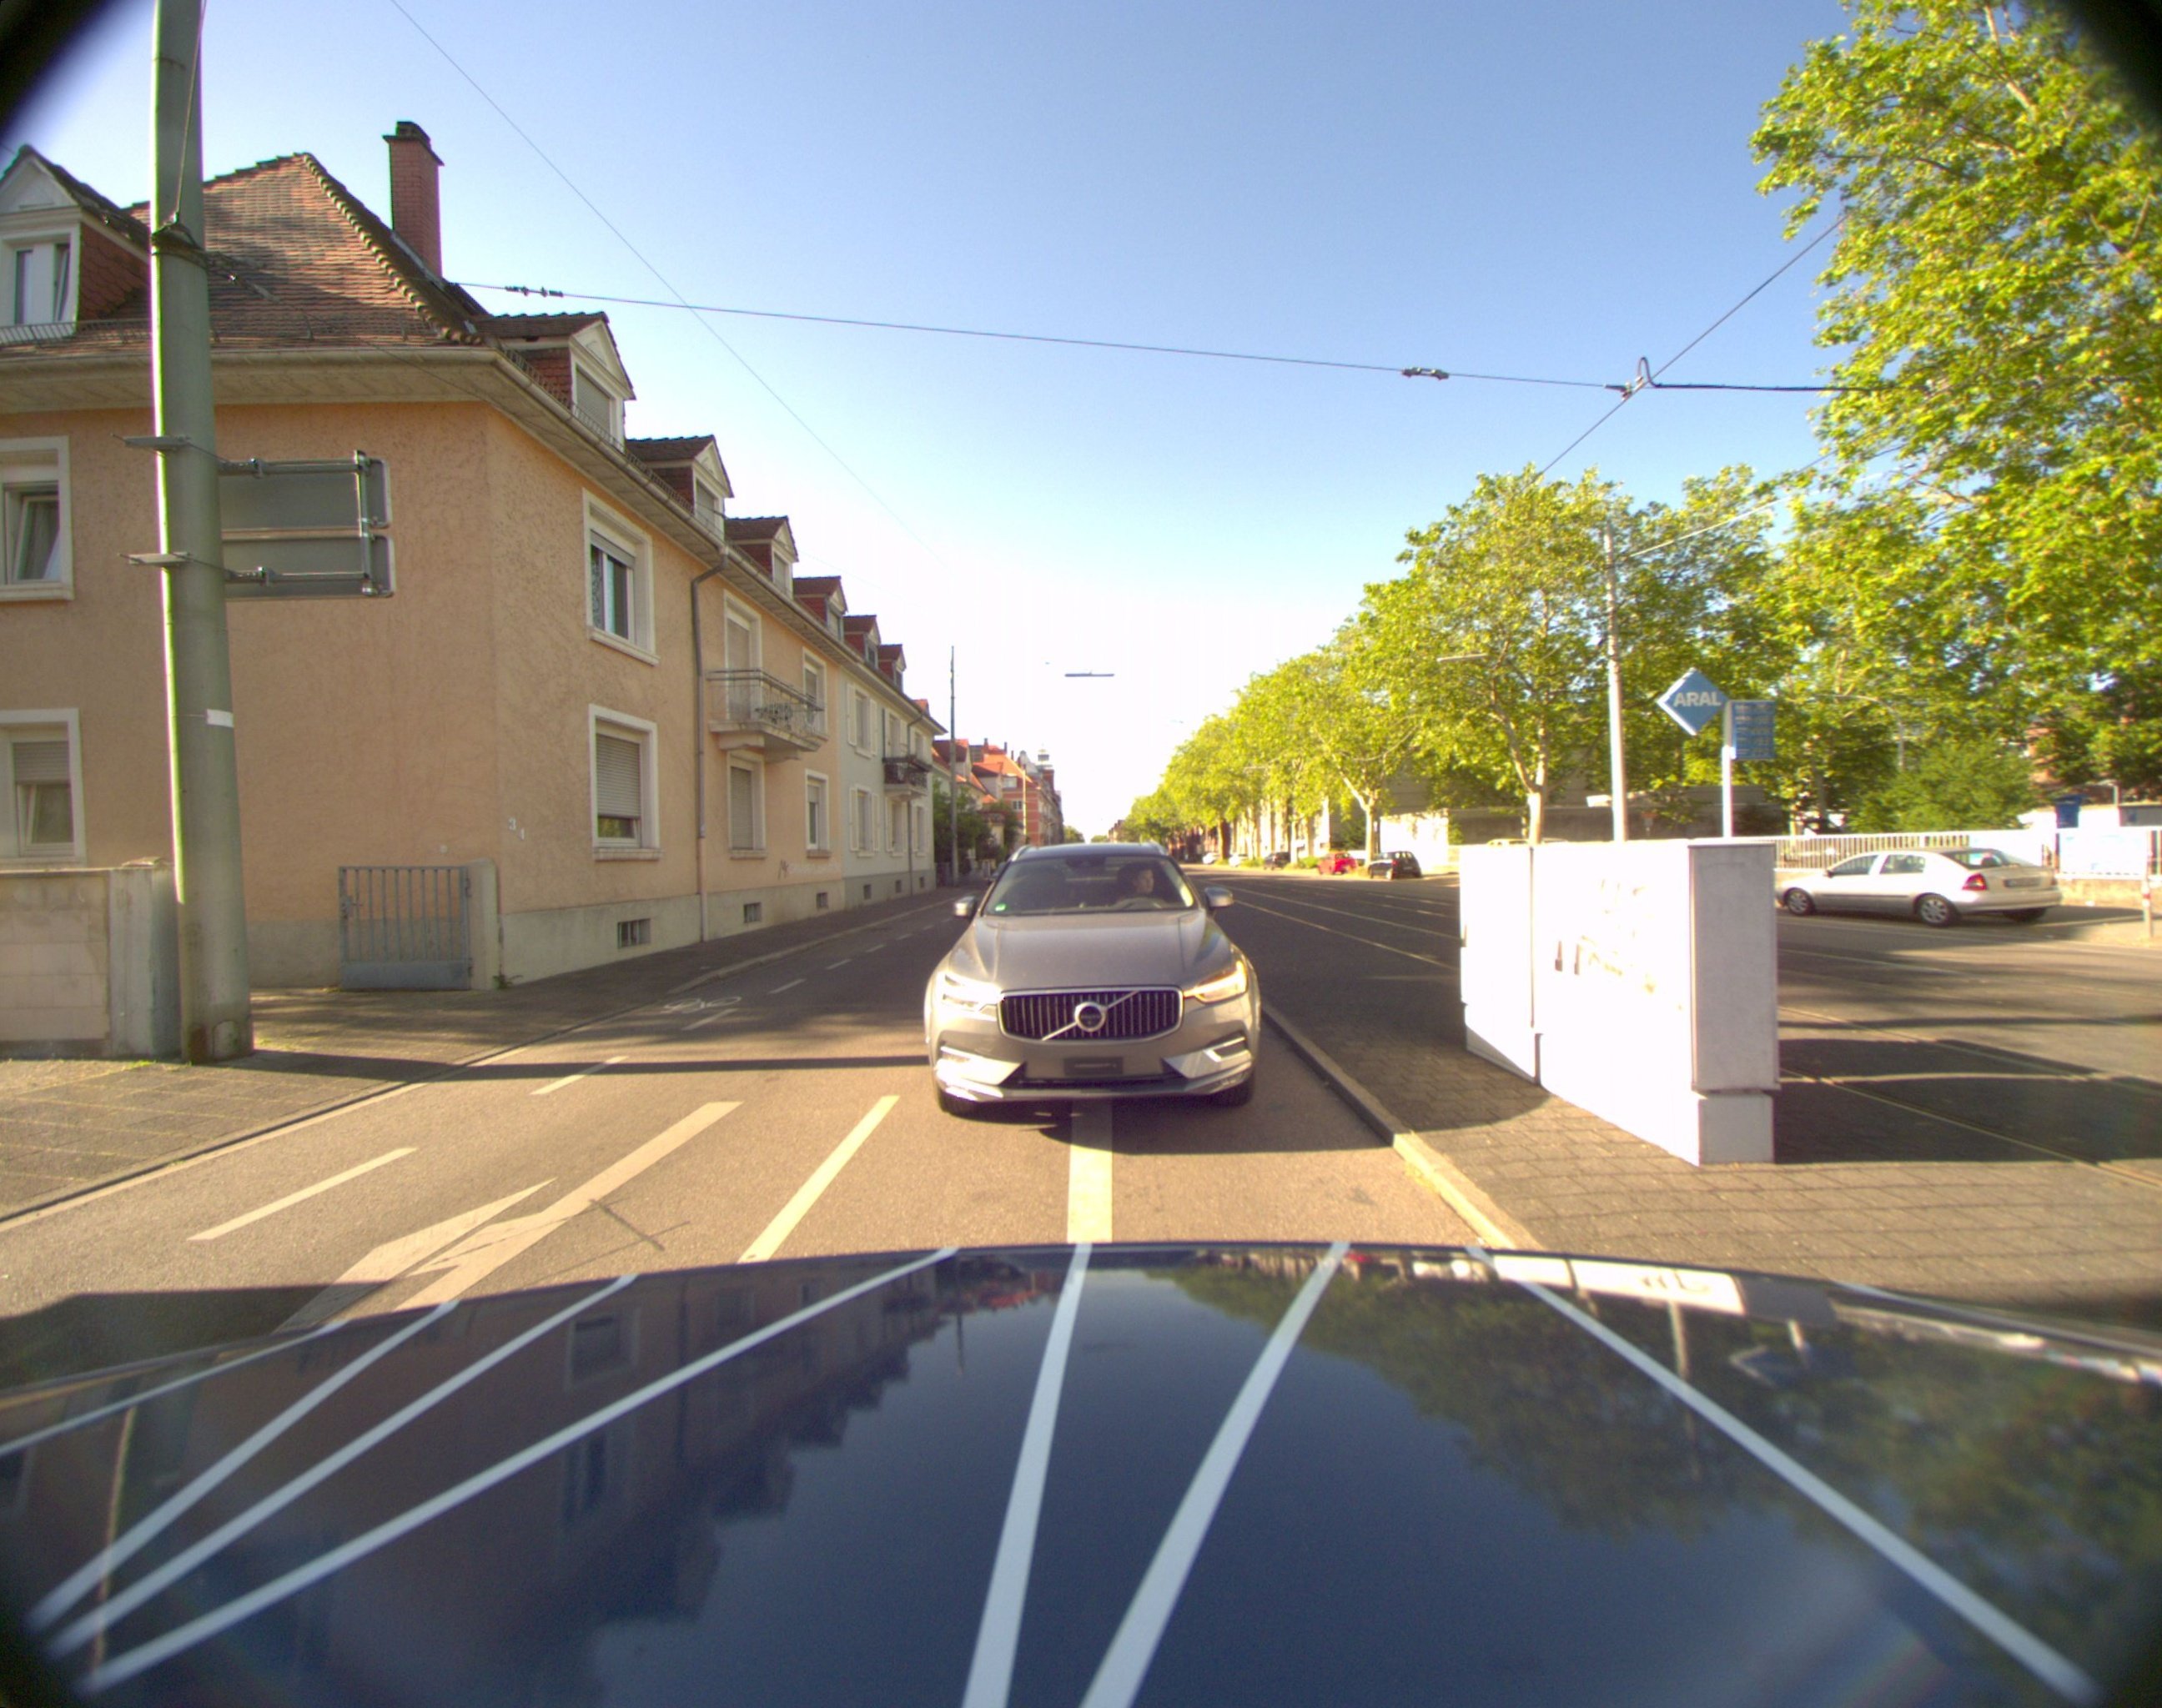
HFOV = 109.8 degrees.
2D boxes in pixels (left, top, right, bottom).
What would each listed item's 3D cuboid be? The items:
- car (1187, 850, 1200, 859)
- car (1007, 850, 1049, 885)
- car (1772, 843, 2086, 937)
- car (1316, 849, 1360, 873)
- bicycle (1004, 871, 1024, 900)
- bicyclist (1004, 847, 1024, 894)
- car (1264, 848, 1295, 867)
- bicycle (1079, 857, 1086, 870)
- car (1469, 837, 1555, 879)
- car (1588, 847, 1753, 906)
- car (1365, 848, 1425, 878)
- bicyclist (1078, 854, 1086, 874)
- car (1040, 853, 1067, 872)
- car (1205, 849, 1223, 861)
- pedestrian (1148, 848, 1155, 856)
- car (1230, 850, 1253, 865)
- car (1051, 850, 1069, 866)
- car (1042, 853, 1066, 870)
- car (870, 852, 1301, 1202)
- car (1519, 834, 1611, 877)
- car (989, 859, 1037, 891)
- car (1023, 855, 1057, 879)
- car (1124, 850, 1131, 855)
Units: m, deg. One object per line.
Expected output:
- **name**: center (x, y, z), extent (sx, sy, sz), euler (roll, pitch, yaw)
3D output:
- **car**: center (18.492, 0.062, 125.292), extent (1.758, 1.475, 3.858), euler (-3, 0, 3)
- **car**: center (-2.921, 0.700, 42.827), extent (1.867, 1.778, 5.297), euler (-1, 0, 1)
- **car**: center (16.234, 0.609, 14.906), extent (1.847, 1.477, 3.858), euler (-4, 0, 2)
- **car**: center (16.896, 0.453, 50.183), extent (1.717, 1.421, 3.858), euler (-3, 0, 3)
- **bicycle**: center (-2.524, 1.169, 28.775), extent (0.533, 1.011, 1.758), euler (-1, 0, 1)
- **bicyclist**: center (-2.538, 0.607, 28.845), extent (0.561, 1.721, 1.084), euler (-2, 1, 1)
- **car**: center (17.163, 0.296, 65.914), extent (1.758, 1.536, 3.858), euler (-3, 0, 3)
- **bicycle**: center (0.133, 0.771, 62.570), extent (0.550, 1.056, 1.794), euler (-1, 1, -1)
- **car**: center (21.805, 0.171, 38.640), extent (1.999, 2.002, 3.999), euler (-1, 0, -1)
- **car**: center (16.474, 0.570, 21.514), extent (1.745, 1.389, 3.858), euler (-4, 0, 3)
- **car**: center (16.885, 0.460, 41.041), extent (1.758, 1.449, 3.858), euler (-3, 0, 3)
- **bicyclist**: center (0.066, 0.783, 62.722), extent (0.562, 1.607, 1.016), euler (-2, 1, 0)
- **car**: center (-2.141, 0.666, 60.054), extent (1.867, 1.399, 4.078), euler (-1, 0, 1)
- **car**: center (17.658, 0.167, 100.936), extent (1.758, 1.475, 3.858), euler (-3, 0, 3)
- **pedestrian**: center (19.606, -0.538, 212.173), extent (1.686, 2.002, 1.761), euler (-1, 1, 1)
- **car**: center (17.567, 0.358, 83.342), extent (1.758, 1.475, 3.858), euler (-3, 0, 3)
- **car**: center (-2.336, 0.431, 85.447), extent (1.867, 1.653, 4.078), euler (-1, 0, 1)
- **car**: center (-2.363, 0.620, 66.358), extent (1.867, 1.399, 4.078), euler (-1, 0, 1)
- **car**: center (0.053, 0.813, 5.928), extent (1.998, 1.609, 4.697), euler (-1, 0, 1)
- **car**: center (24.153, 0.082, 38.100), extent (1.999, 2.002, 3.999), euler (-1, 0, -1)
- **car**: center (-3.243, 0.962, 37.073), extent (1.867, 1.399, 4.424), euler (-1, 0, 1)
- **car**: center (-2.586, 0.812, 48.495), extent (1.867, 1.399, 4.078), euler (-1, 0, 1)
- **car**: center (14.278, -0.477, 234.638), extent (1.998, 1.685, 4.000), euler (-1, 0, 1)
